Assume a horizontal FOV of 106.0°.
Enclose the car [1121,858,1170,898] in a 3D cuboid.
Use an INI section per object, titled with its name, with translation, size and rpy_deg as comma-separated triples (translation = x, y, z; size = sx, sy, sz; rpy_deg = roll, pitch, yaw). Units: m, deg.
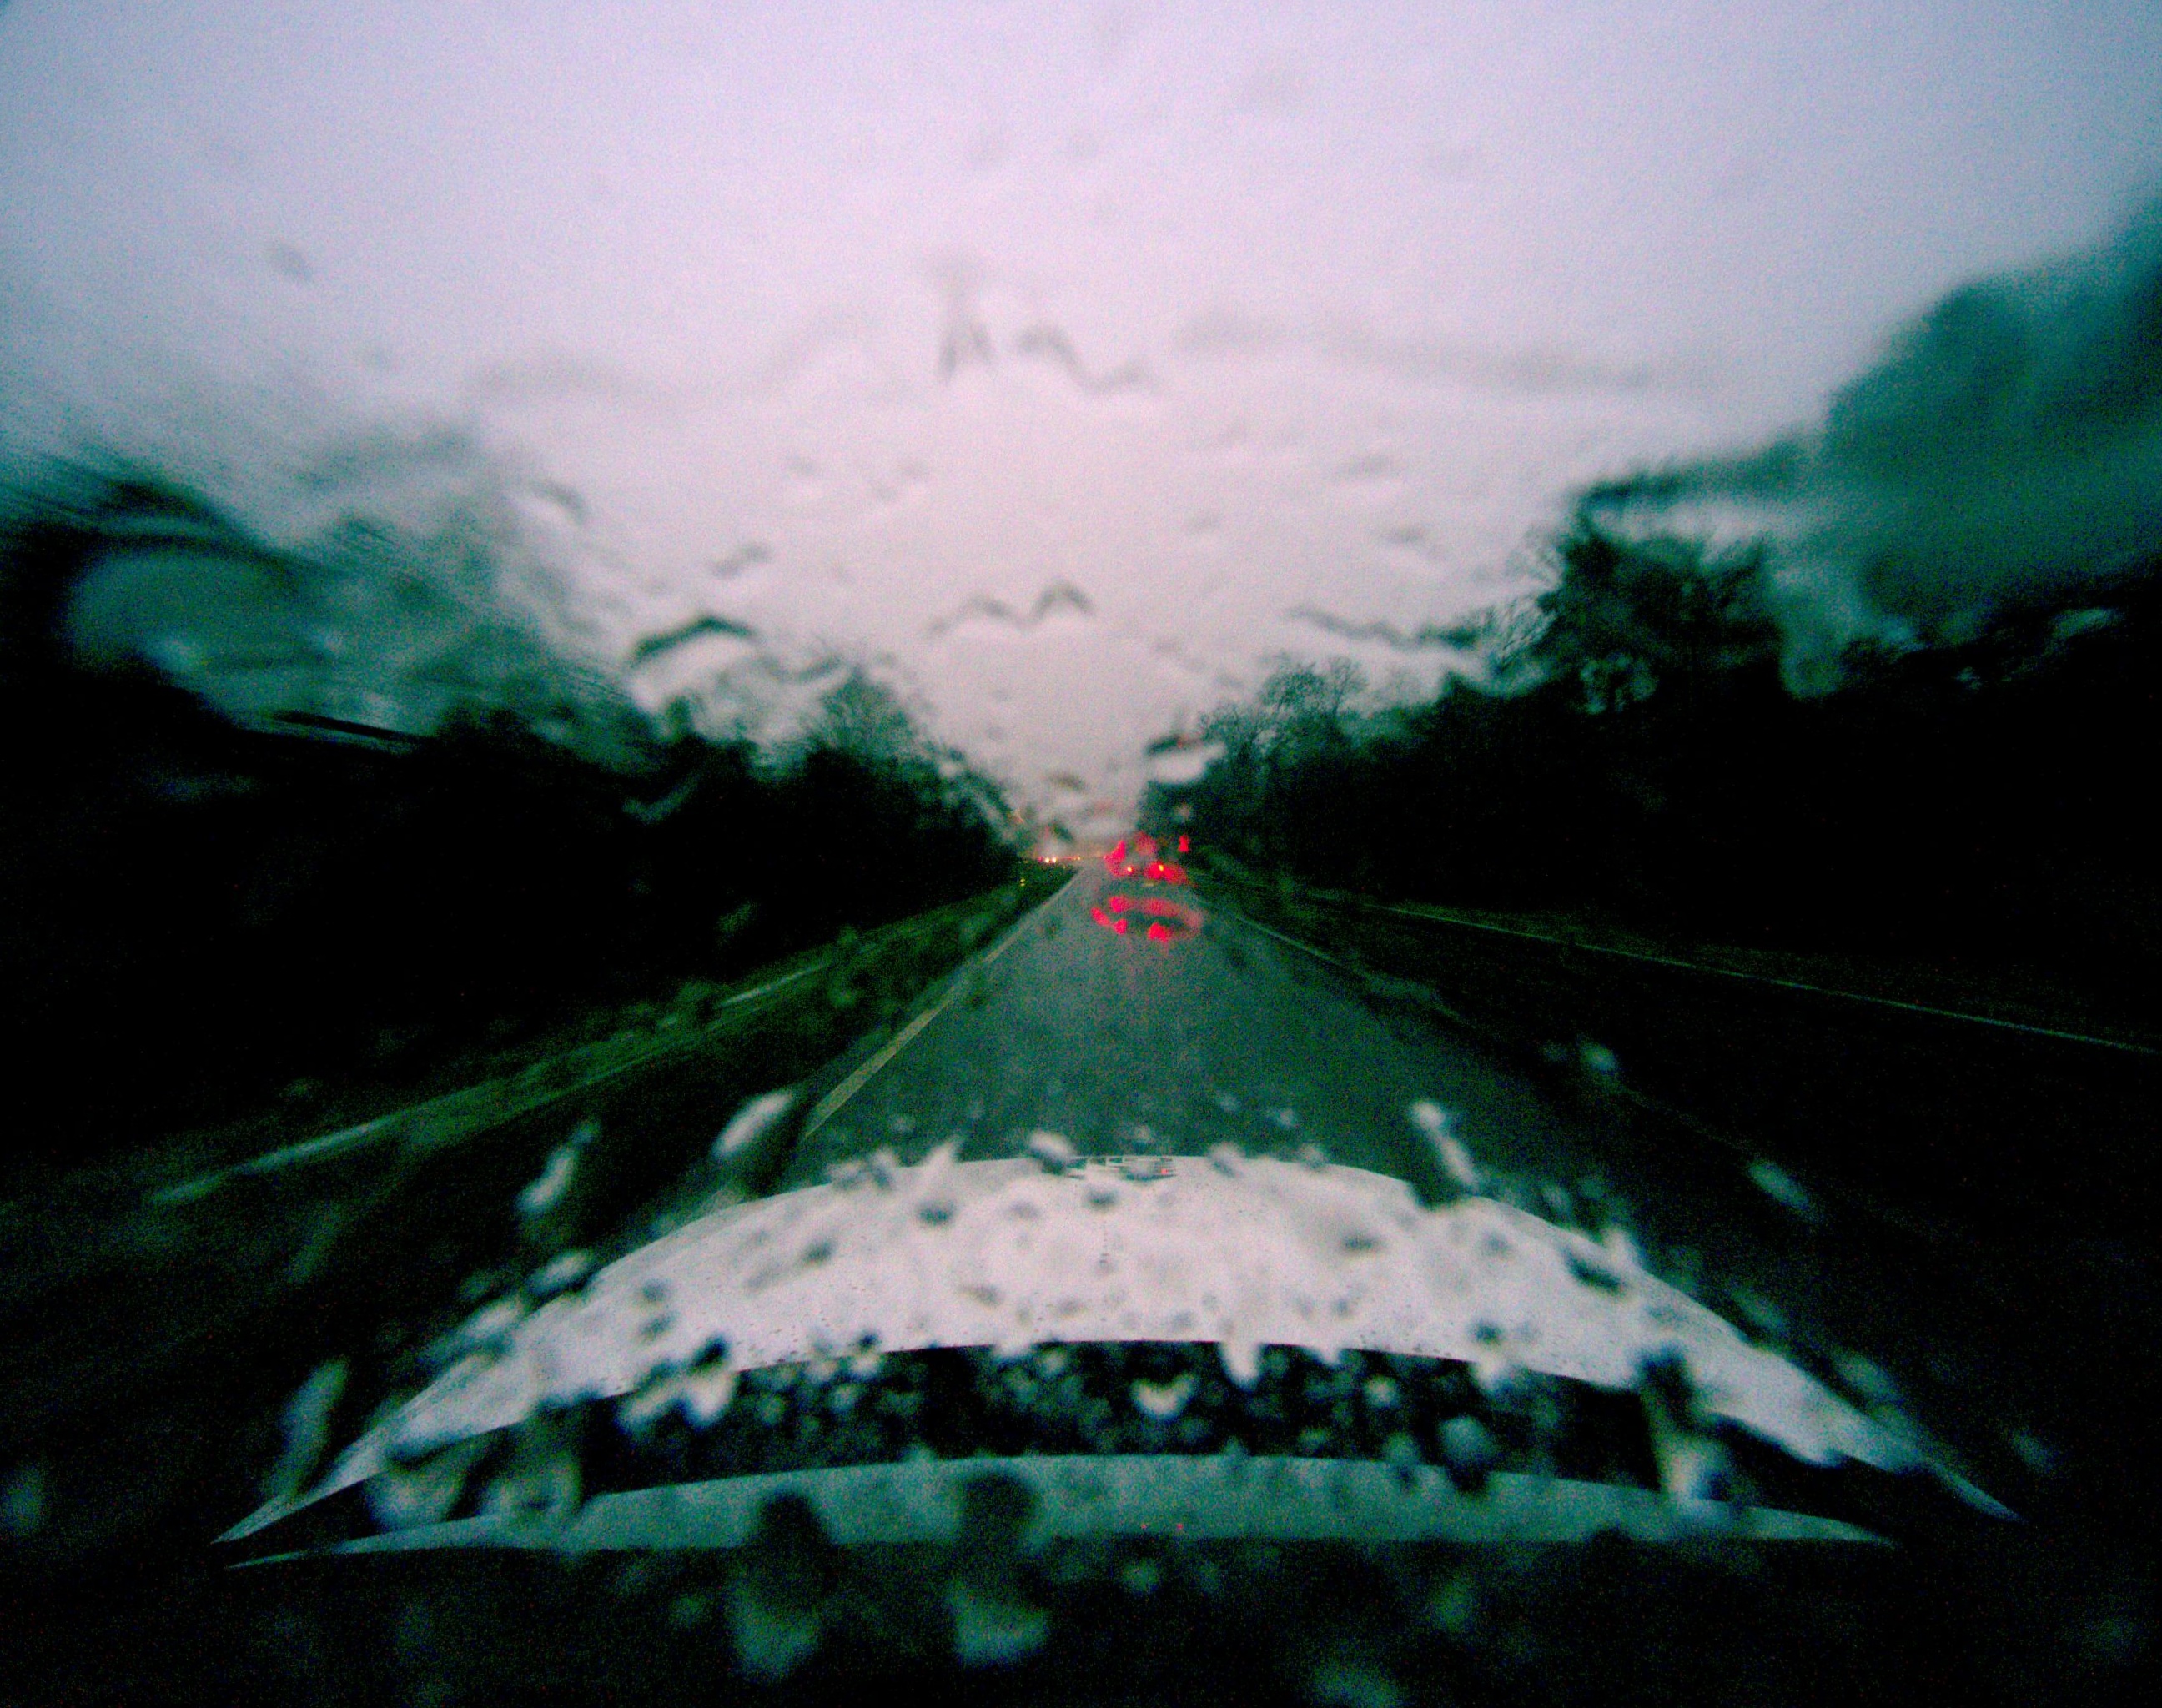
[car]
translation = 2.488, 0.897, 32.000
size = 1.725, 1.429, 3.767
rpy_deg = -2, -1, 2
